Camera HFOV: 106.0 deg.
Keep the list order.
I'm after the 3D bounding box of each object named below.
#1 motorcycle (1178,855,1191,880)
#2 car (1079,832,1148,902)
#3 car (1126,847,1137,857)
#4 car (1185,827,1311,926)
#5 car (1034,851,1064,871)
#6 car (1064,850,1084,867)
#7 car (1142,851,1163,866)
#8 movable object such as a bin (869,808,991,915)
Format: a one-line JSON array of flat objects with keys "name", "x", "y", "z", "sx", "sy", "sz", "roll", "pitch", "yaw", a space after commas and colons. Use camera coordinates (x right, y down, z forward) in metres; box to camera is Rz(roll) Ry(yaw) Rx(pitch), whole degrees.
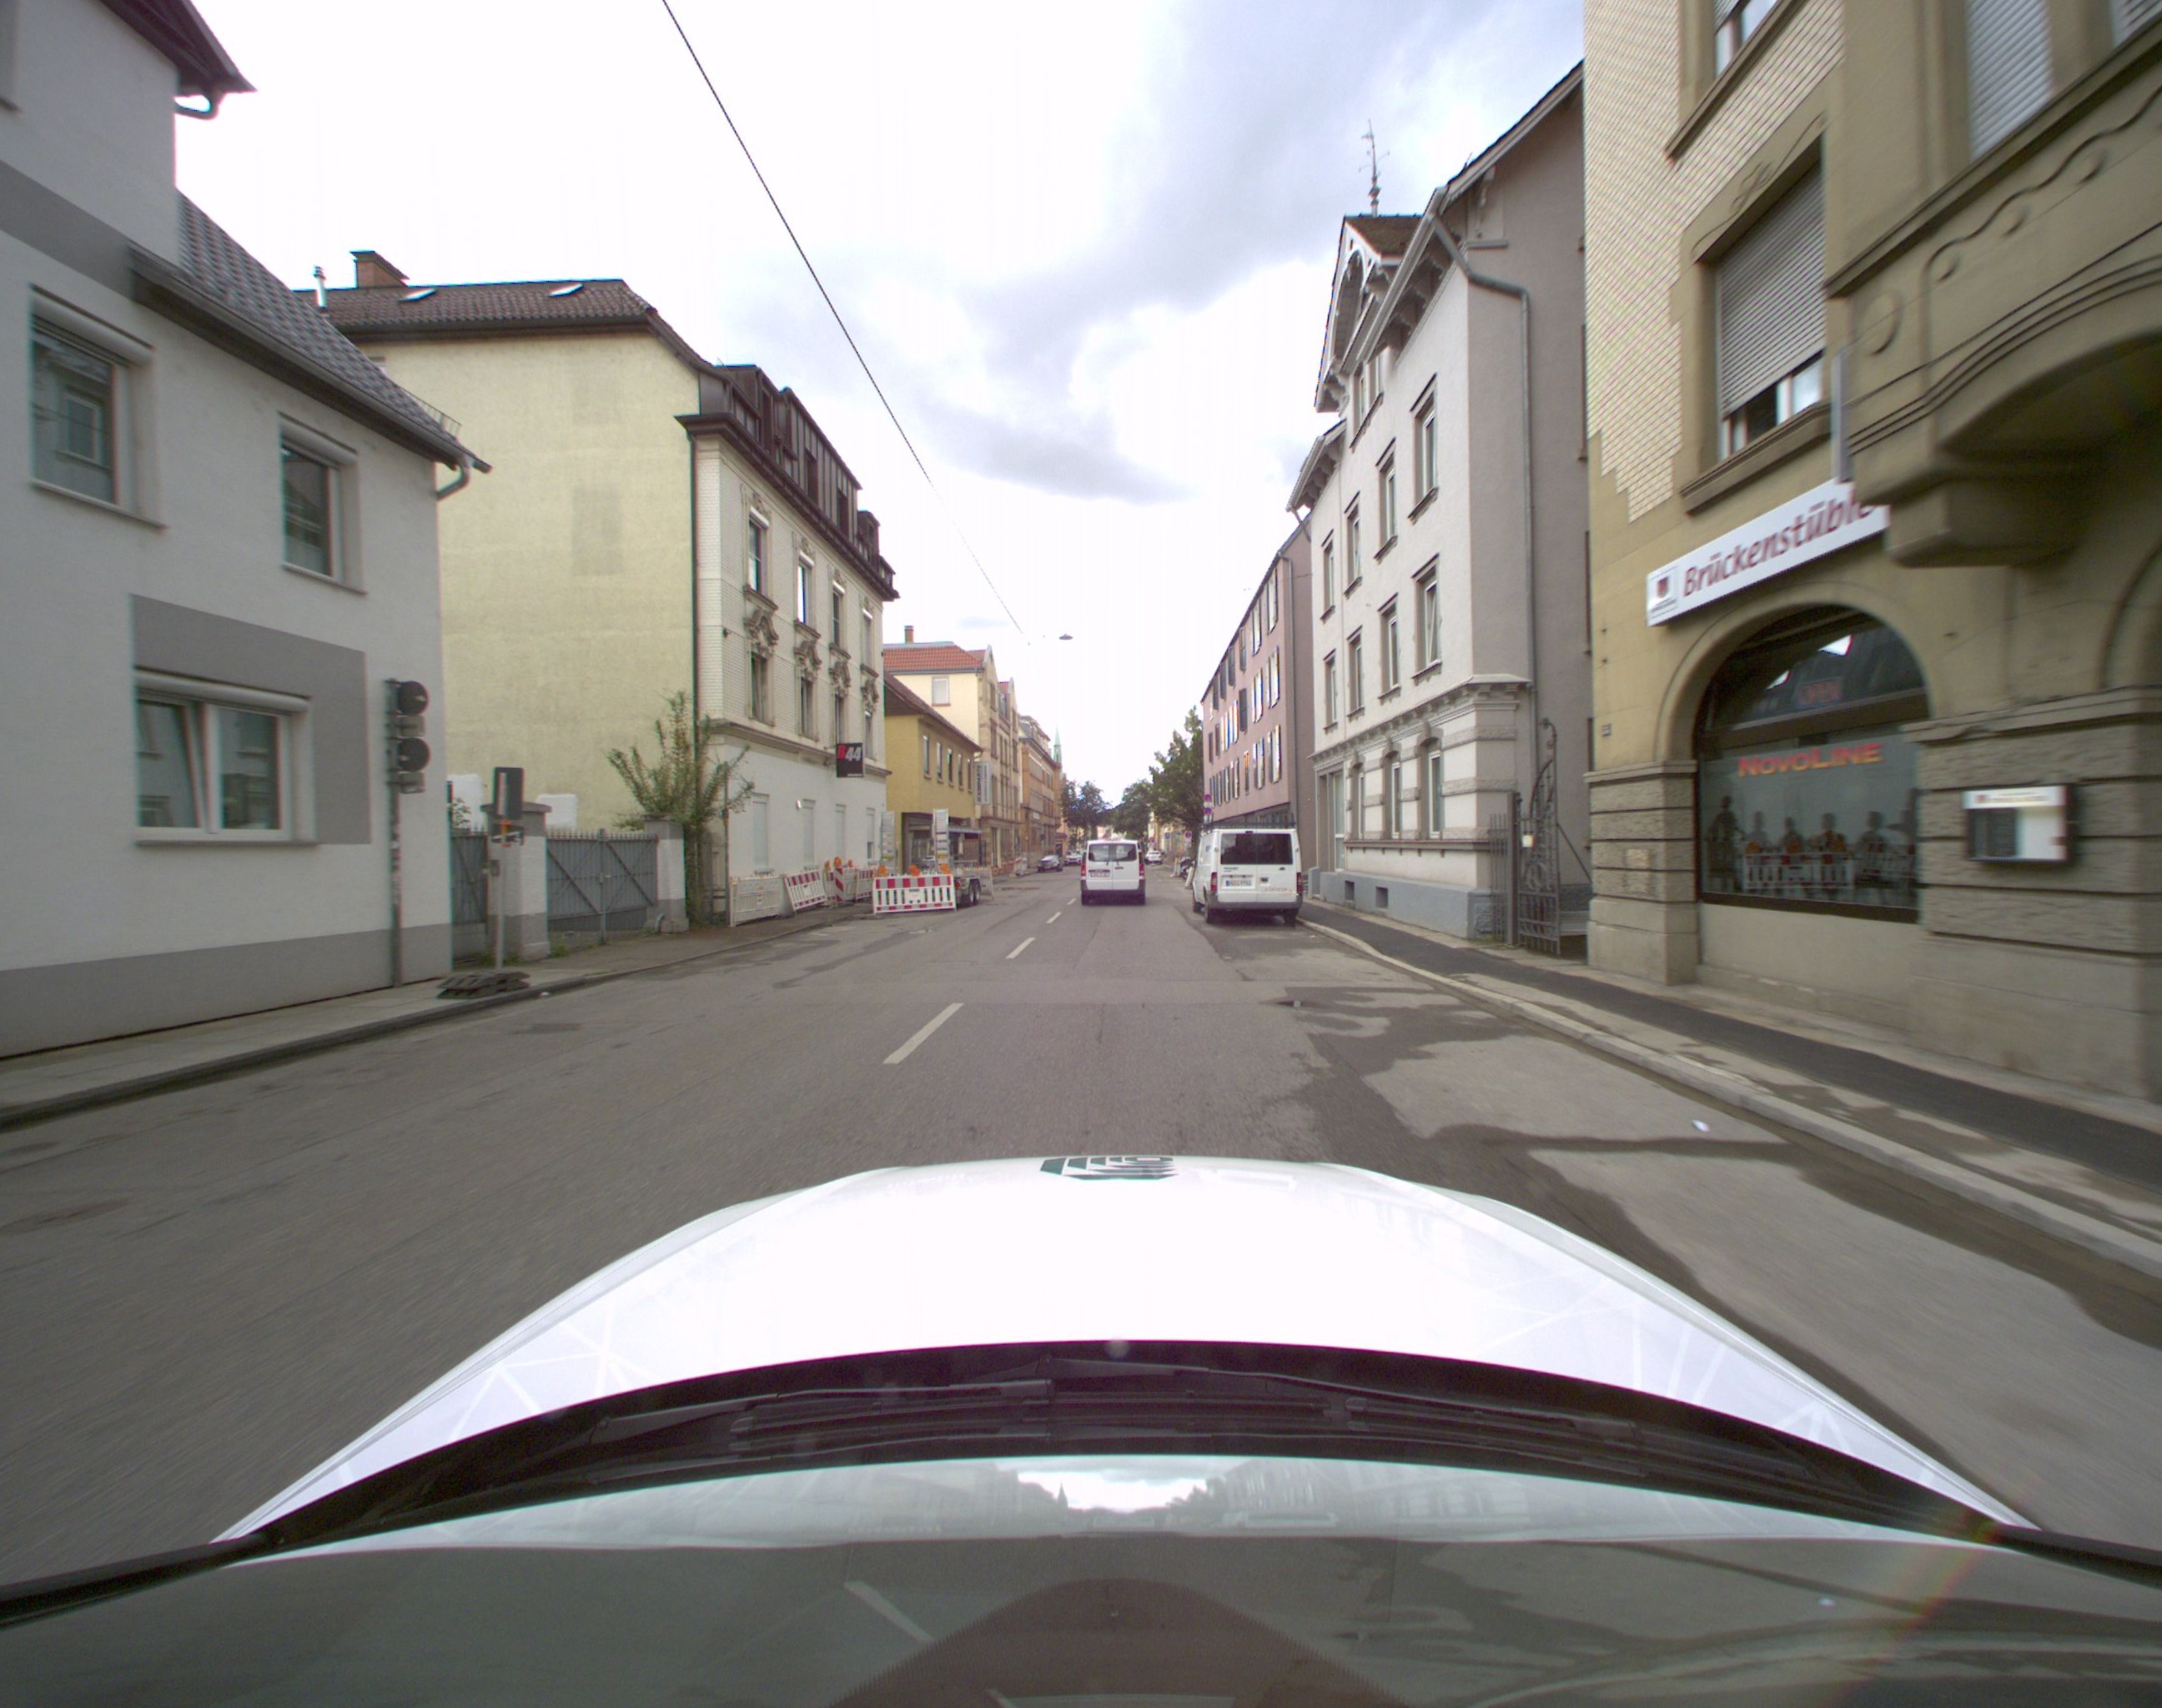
[{"name": "motorcycle", "x": 5.293, "y": 0.666, "z": 41.604, "sx": 0.640, "sy": 1.246, "sz": 2.272, "roll": -1, "pitch": 0, "yaw": 7}, {"name": "car", "x": 0.904, "y": 0.380, "z": 25.065, "sx": 1.885, "sy": 1.929, "sz": 4.644, "roll": -1, "pitch": 0, "yaw": 0}, {"name": "car", "x": 9.996, "y": -0.386, "z": 161.043, "sx": 1.984, "sy": 2.014, "sz": 4.005, "roll": -2, "pitch": -1, "yaw": 5}, {"name": "car", "x": 3.722, "y": 0.444, "z": 19.101, "sx": 2.120, "sy": 2.005, "sz": 4.929, "roll": 0, "pitch": 0, "yaw": 2}, {"name": "car", "x": -2.541, "y": 0.542, "z": 65.199, "sx": 1.986, "sy": 1.442, "sz": 4.003, "roll": -2, "pitch": 0, "yaw": 2}, {"name": "car", "x": -0.713, "y": 0.464, "z": 90.051, "sx": 1.986, "sy": 1.741, "sz": 4.003, "roll": 1, "pitch": 0, "yaw": 2}, {"name": "car", "x": 7.853, "y": 0.455, "z": 89.663, "sx": 1.986, "sy": 1.485, "sz": 4.003, "roll": 2, "pitch": 0, "yaw": 2}, {"name": "movable object such as a bin", "x": -4.433, "y": 0.198, "z": 24.799, "sx": 2.527, "sy": 2.825, "sz": 4.542, "roll": -3, "pitch": 0, "yaw": 2}]
